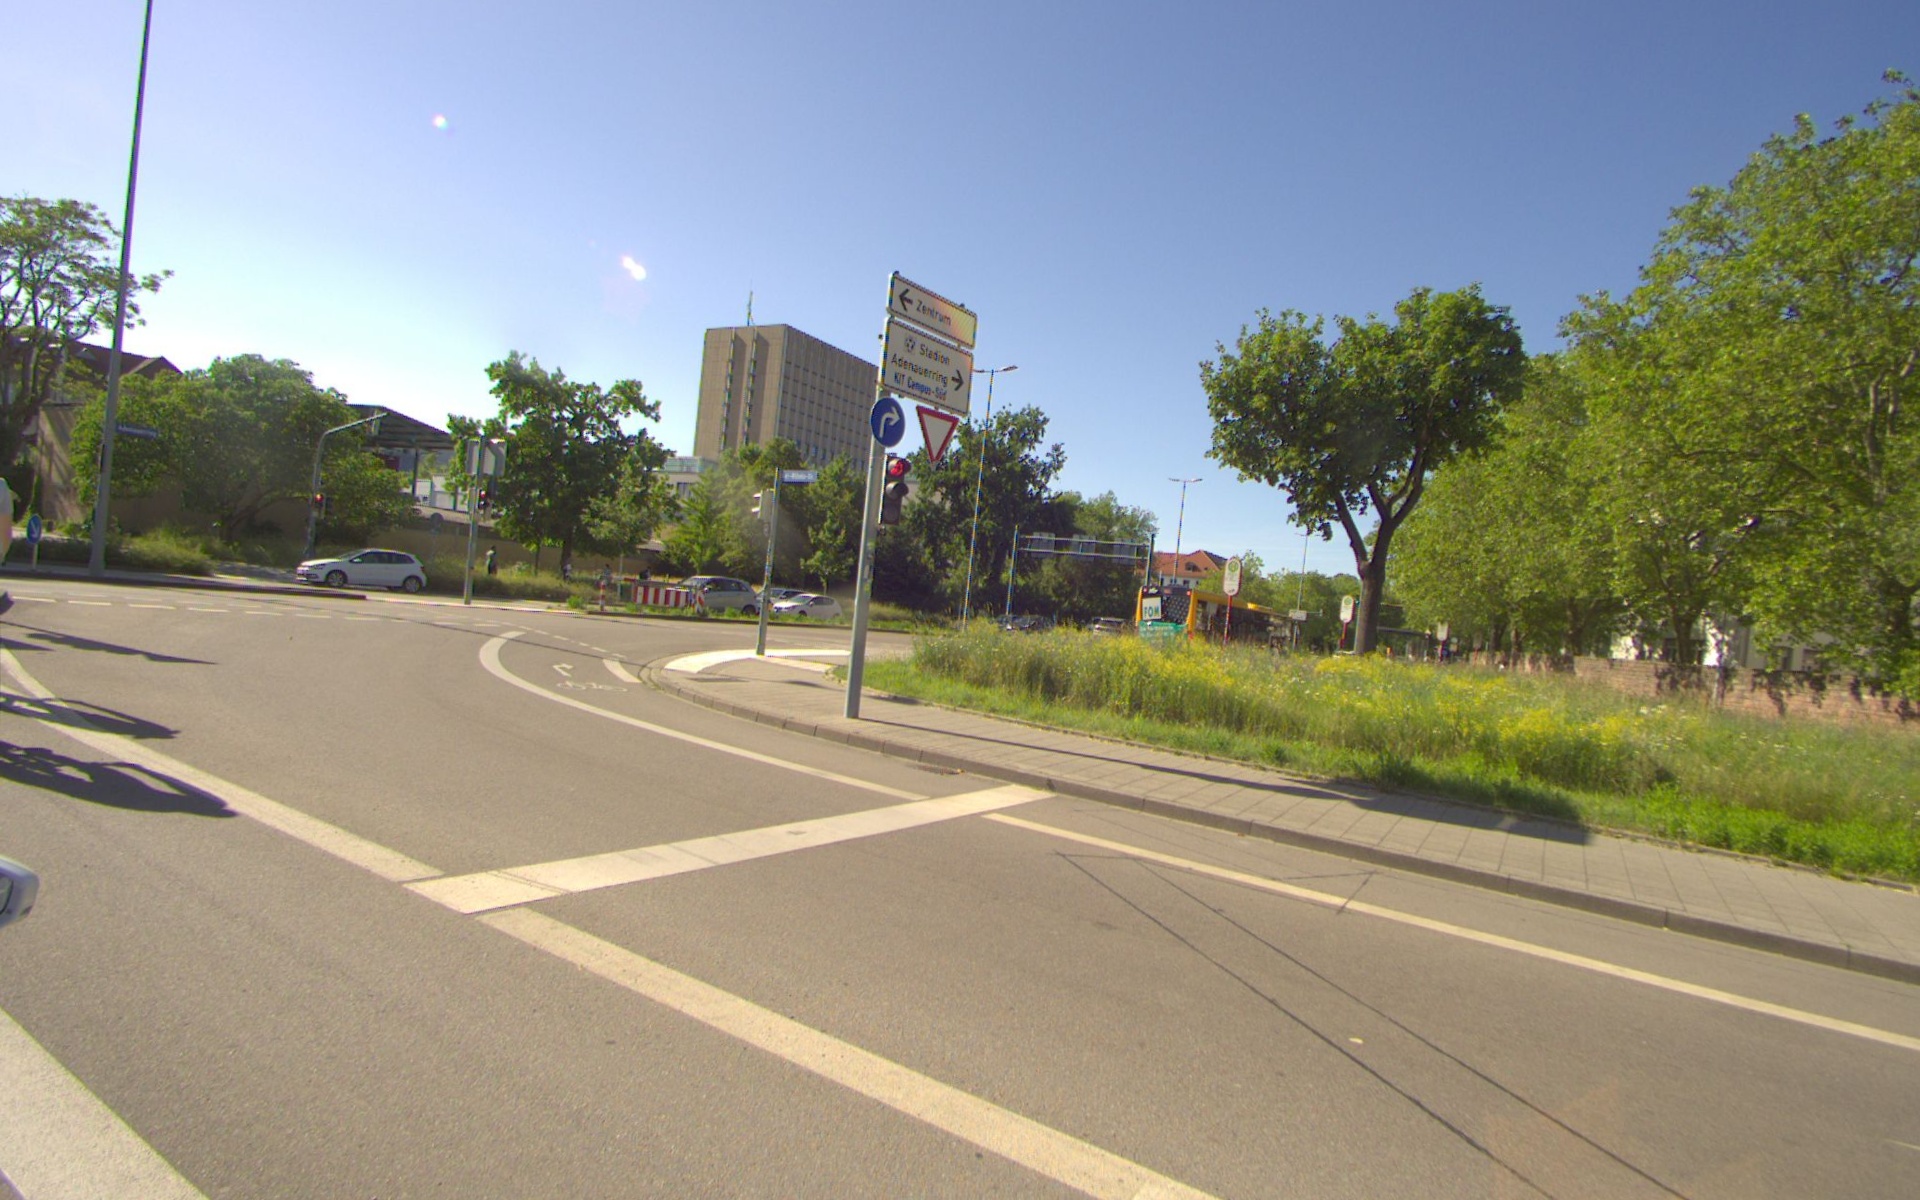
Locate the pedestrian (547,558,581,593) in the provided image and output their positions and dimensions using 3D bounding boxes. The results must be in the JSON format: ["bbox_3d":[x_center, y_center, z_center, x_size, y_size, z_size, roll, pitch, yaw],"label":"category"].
[{"bbox_3d":[-19.266,-1.192,48.958,0.917,1.540,1.083,7,1,41],"label":"pedestrian"}]

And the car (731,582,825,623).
[{"bbox_3d":[-9.244,0.163,51.392,1.970,1.625,4.502,7,0,37],"label":"car"}]

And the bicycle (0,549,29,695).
[{"bbox_3d":[-7.996,0.066,7.722,1.813,1.063,0.672,6,-1,31],"label":"bicycle"}]

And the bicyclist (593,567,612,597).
[{"bbox_3d":[-17.291,-0.885,48.635,0.568,1.385,0.520,7,1,42],"label":"bicyclist"}]

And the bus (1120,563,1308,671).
[{"bbox_3d":[11.509,0.976,44.188,3.200,3.614,12.421,8,0,36],"label":"bus"}]

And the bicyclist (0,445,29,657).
[{"bbox_3d":[-7.862,-0.442,7.692,1.063,1.601,0.675,7,-1,31],"label":"bicyclist"}]

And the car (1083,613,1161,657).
[{"bbox_3d":[8.695,1.899,53.658,1.975,1.884,4.725,7,0,37],"label":"car"}]

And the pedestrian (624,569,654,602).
[{"bbox_3d":[-16.639,-0.745,52.122,0.865,1.540,1.074,7,1,36],"label":"pedestrian"}]

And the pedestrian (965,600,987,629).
[{"bbox_3d":[1.234,1.098,77.382,0.966,2.106,1.186,7,1,35],"label":"pedestrian"}]

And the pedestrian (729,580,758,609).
[{"bbox_3d":[-12.476,-0.325,58.016,0.975,1.540,1.129,7,1,35],"label":"pedestrian"}]

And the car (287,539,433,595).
[{"bbox_3d":[-20.919,-1.123,35.197,1.786,1.509,3.949,4,-2,40],"label":"car"}]

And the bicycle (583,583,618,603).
[{"bbox_3d":[-17.369,-0.327,48.629,0.561,0.787,1.490,7,0,42],"label":"bicycle"}]

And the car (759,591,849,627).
[{"bbox_3d":[-7.468,0.439,48.509,1.970,1.378,3.993,5,-1,37],"label":"car"}]

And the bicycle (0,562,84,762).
[{"bbox_3d":[-6.242,0.298,6.138,1.871,1.064,0.748,6,1,31],"label":"bicycle"}]

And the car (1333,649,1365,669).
[{"bbox_3d":[31.610,4.789,81.751,1.730,1.390,3.992,7,0,30],"label":"car"}]

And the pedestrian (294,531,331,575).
[{"bbox_3d":[-26.137,-1.892,40.599,0.979,1.625,0.816,6,1,-45],"label":"pedestrian"}]

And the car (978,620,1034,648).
[{"bbox_3d":[3.209,2.377,69.754,1.892,1.625,4.072,7,0,35],"label":"car"}]

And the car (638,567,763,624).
[{"bbox_3d":[-9.560,-0.129,37.315,1.882,1.625,4.124,7,0,37],"label":"car"}]

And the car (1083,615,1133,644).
[{"bbox_3d":[12.182,2.435,82.377,1.968,1.966,4.834,7,0,35],"label":"car"}]

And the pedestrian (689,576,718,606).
[{"bbox_3d":[-14.405,-0.504,56.533,0.927,1.540,1.145,7,1,38],"label":"pedestrian"}]

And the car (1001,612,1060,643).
[{"bbox_3d":[4.684,1.813,66.311,1.968,1.625,4.127,7,0,35],"label":"car"}]

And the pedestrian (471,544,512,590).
[{"bbox_3d":[-21.375,-1.504,45.891,0.953,1.879,1.294,7,1,43],"label":"pedestrian"}]

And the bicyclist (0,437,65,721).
[{"bbox_3d":[-6.159,-0.168,6.110,0.851,1.695,0.741,7,1,30],"label":"bicyclist"}]
